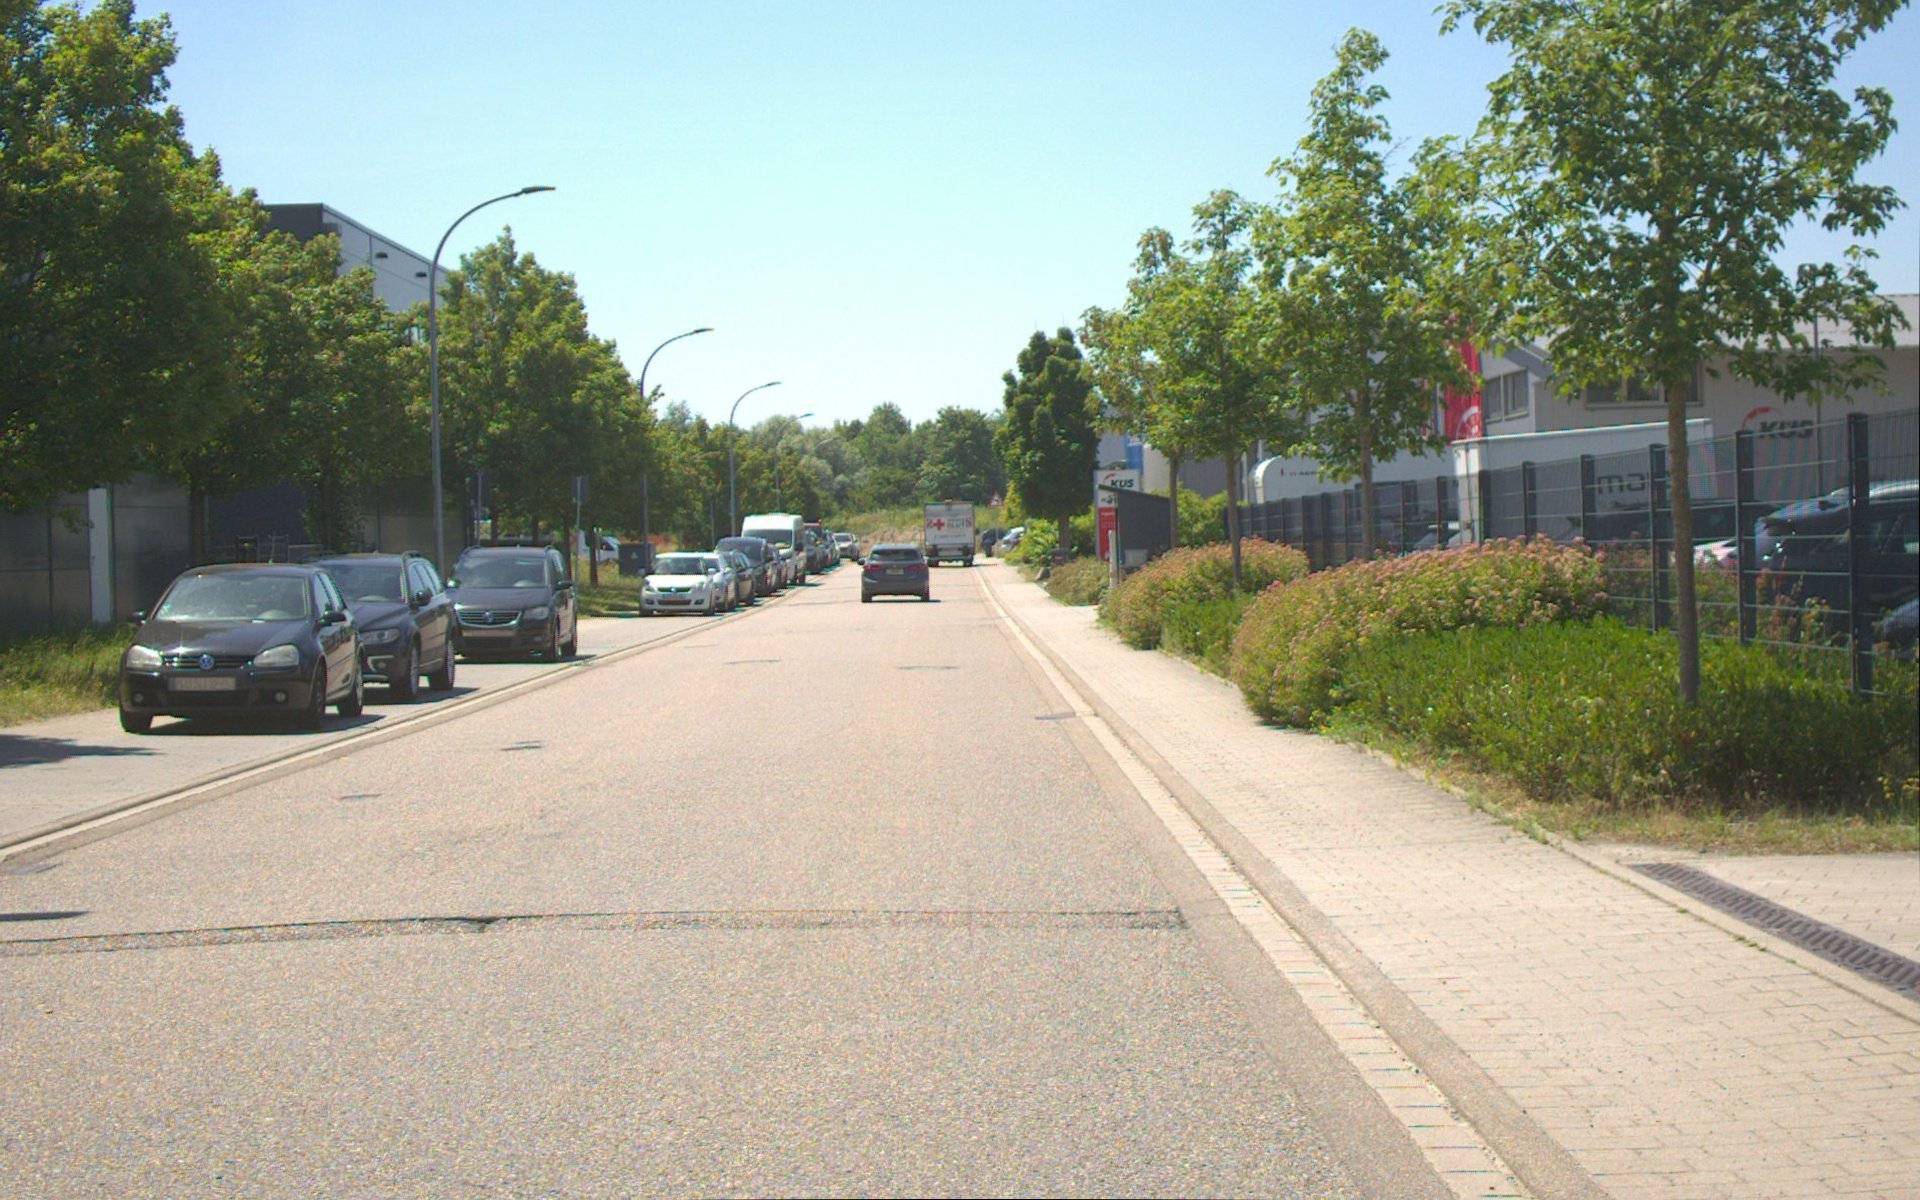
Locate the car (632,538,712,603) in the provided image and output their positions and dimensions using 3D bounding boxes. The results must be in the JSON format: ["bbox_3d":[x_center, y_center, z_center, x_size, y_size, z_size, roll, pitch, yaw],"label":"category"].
[{"bbox_3d":[-6.825,-0.716,81.762,1.720,1.471,3.858,-1,1,-2],"label":"car"}]

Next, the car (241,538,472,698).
[{"bbox_3d":[-6.580,0.143,37.949,1.770,1.606,4.853,-1,1,-1],"label":"car"}]

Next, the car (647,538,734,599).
[{"bbox_3d":[-6.783,-0.819,87.024,1.799,1.471,4.555,-1,1,0],"label":"car"}]

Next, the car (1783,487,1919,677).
[{"bbox_3d":[8.494,-0.208,26.879,3.665,1.417,1.645,-2,1,-1],"label":"car"}]

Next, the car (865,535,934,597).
[{"bbox_3d":[-1.616,-0.944,92.827,1.789,1.618,3.809,1,1,0],"label":"car"}]

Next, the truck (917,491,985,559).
[{"bbox_3d":[-0.378,-3.343,154.274,2.933,2.963,6.419,1,1,0],"label":"truck"}]

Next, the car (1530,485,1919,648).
[{"bbox_3d":[8.162,-0.371,35.864,4.041,1.498,1.919,-3,1,-1],"label":"car"}]

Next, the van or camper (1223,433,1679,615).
[{"bbox_3d":[7.714,-1.208,54.618,6.757,2.576,2.636,-2,1,-1],"label":"van or camper"}]

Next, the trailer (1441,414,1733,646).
[{"bbox_3d":[6.965,-0.785,38.312,2.822,2.395,1.420,-3,1,-4],"label":"trailer"}]

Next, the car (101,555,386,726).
[{"bbox_3d":[-6.490,0.323,31.557,1.771,1.426,4.201,0,1,0],"label":"car"}]

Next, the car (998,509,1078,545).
[{"bbox_3d":[3.912,-3.655,172.012,3.875,1.744,1.752,0,1,-2],"label":"car"}]

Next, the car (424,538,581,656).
[{"bbox_3d":[-6.561,-0.082,49.672,1.770,1.606,4.248,-1,1,-1],"label":"car"}]

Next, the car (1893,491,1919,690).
[{"bbox_3d":[9.056,-0.162,24.494,4.279,1.440,1.755,-3,1,-1],"label":"car"}]

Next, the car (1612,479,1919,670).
[{"bbox_3d":[7.829,-0.266,29.696,3.987,1.516,1.823,-2,1,-1],"label":"car"}]

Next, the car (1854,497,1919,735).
[{"bbox_3d":[7.980,-0.012,21.407,4.344,1.444,1.603,-3,1,-1],"label":"car"}]

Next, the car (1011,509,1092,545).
[{"bbox_3d":[4.489,-3.600,169.489,3.875,1.744,1.752,0,1,-2],"label":"car"}]

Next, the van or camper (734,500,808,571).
[{"bbox_3d":[-6.716,-2.318,123.015,2.079,2.474,6.130,1,1,2],"label":"van or camper"}]

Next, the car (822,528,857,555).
[{"bbox_3d":[-7.017,-3.426,200.366,1.799,1.482,4.252,-1,2,2],"label":"car"}]
